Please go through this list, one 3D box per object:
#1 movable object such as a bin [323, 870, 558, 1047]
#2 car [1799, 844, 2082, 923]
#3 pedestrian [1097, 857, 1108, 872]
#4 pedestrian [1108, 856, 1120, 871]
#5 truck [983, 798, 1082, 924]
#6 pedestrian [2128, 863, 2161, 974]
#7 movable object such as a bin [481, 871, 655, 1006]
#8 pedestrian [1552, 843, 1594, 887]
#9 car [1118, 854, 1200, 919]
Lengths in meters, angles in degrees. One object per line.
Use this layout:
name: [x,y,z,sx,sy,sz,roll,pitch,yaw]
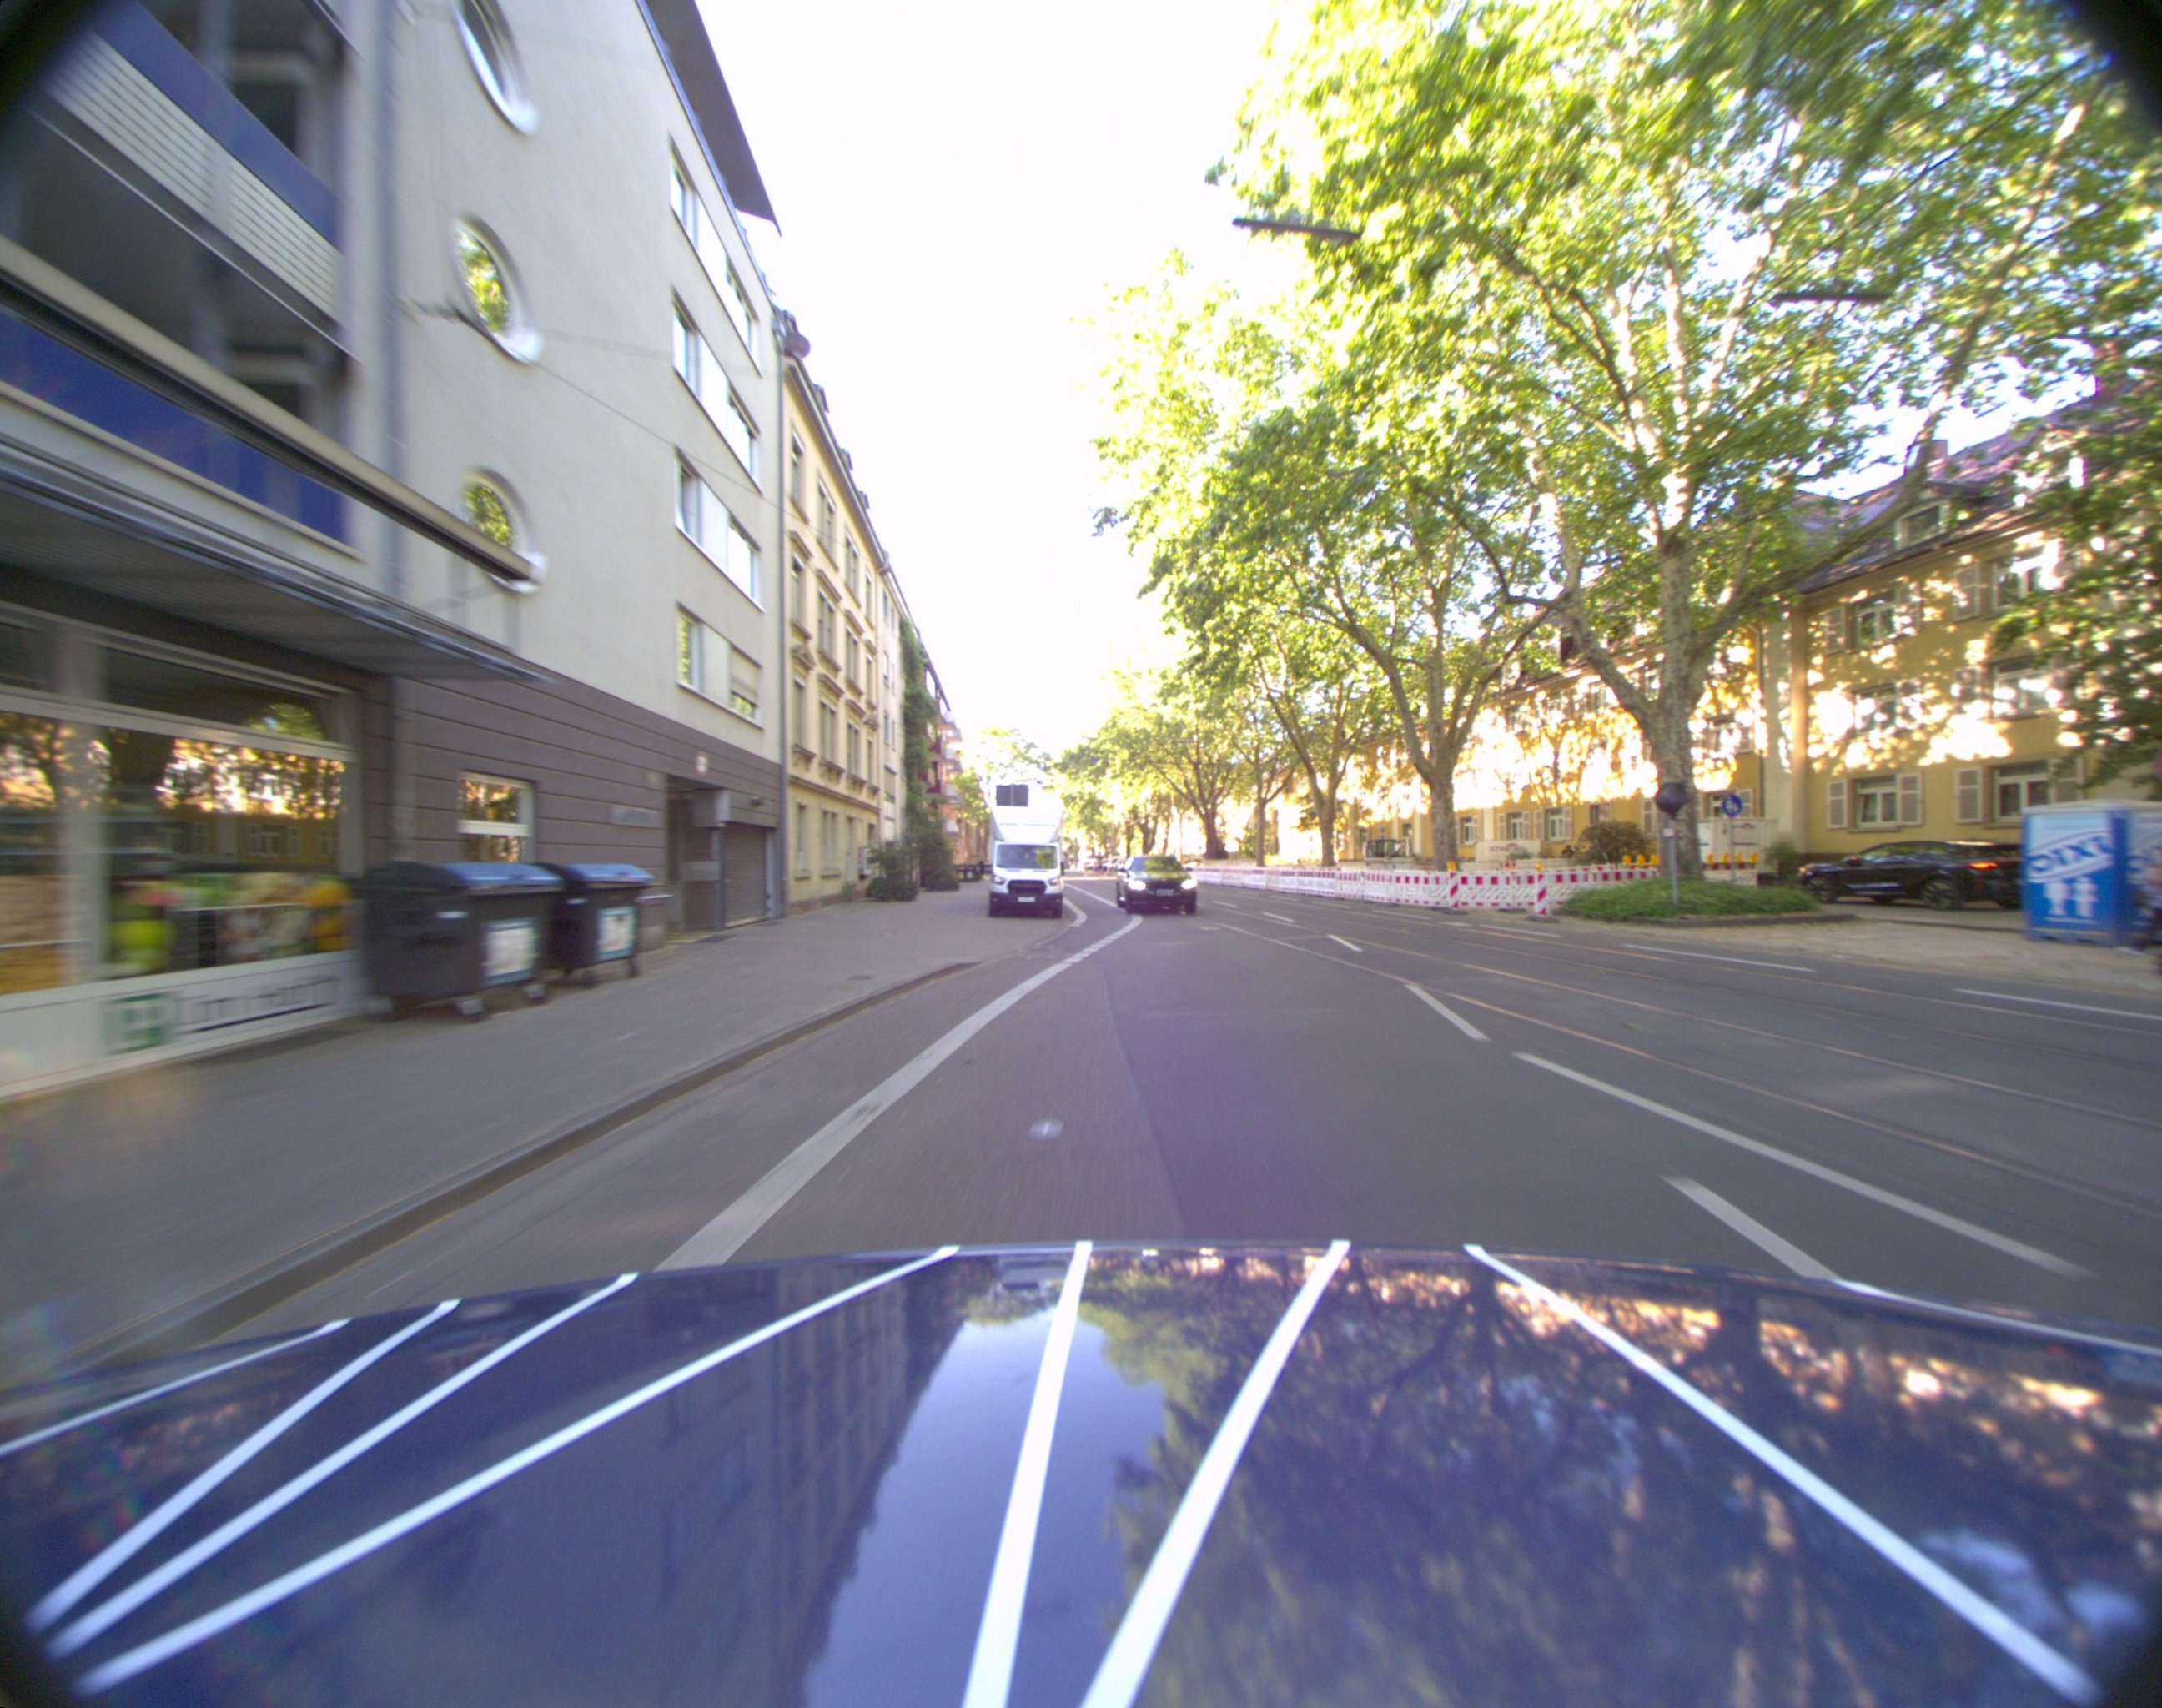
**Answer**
movable object such as a bin: [-5.772,0.881,6.971,1.069,1.438,1.296,0,0,-3]
car: [19.984,0.622,18.003,1.830,1.592,4.220,-2,0,-2]
pedestrian: [2.212,1.111,78.495,0.749,1.533,0.864,0,0,-24]
pedestrian: [3.379,0.952,77.249,0.889,1.533,0.946,0,0,-24]
truck: [-1.795,0.213,23.955,2.385,3.165,8.523,3,0,-7]
pedestrian: [15.584,0.910,10.834,0.598,1.563,0.715,0,0,-32]
movable object such as a bin: [-5.907,0.928,8.862,1.123,1.437,1.306,0,0,1]
pedestrian: [22.858,0.482,35.304,1.098,2.002,1.234,0,0,-7]
car: [2.226,0.888,22.846,1.943,1.733,4.474,-1,0,-1]
